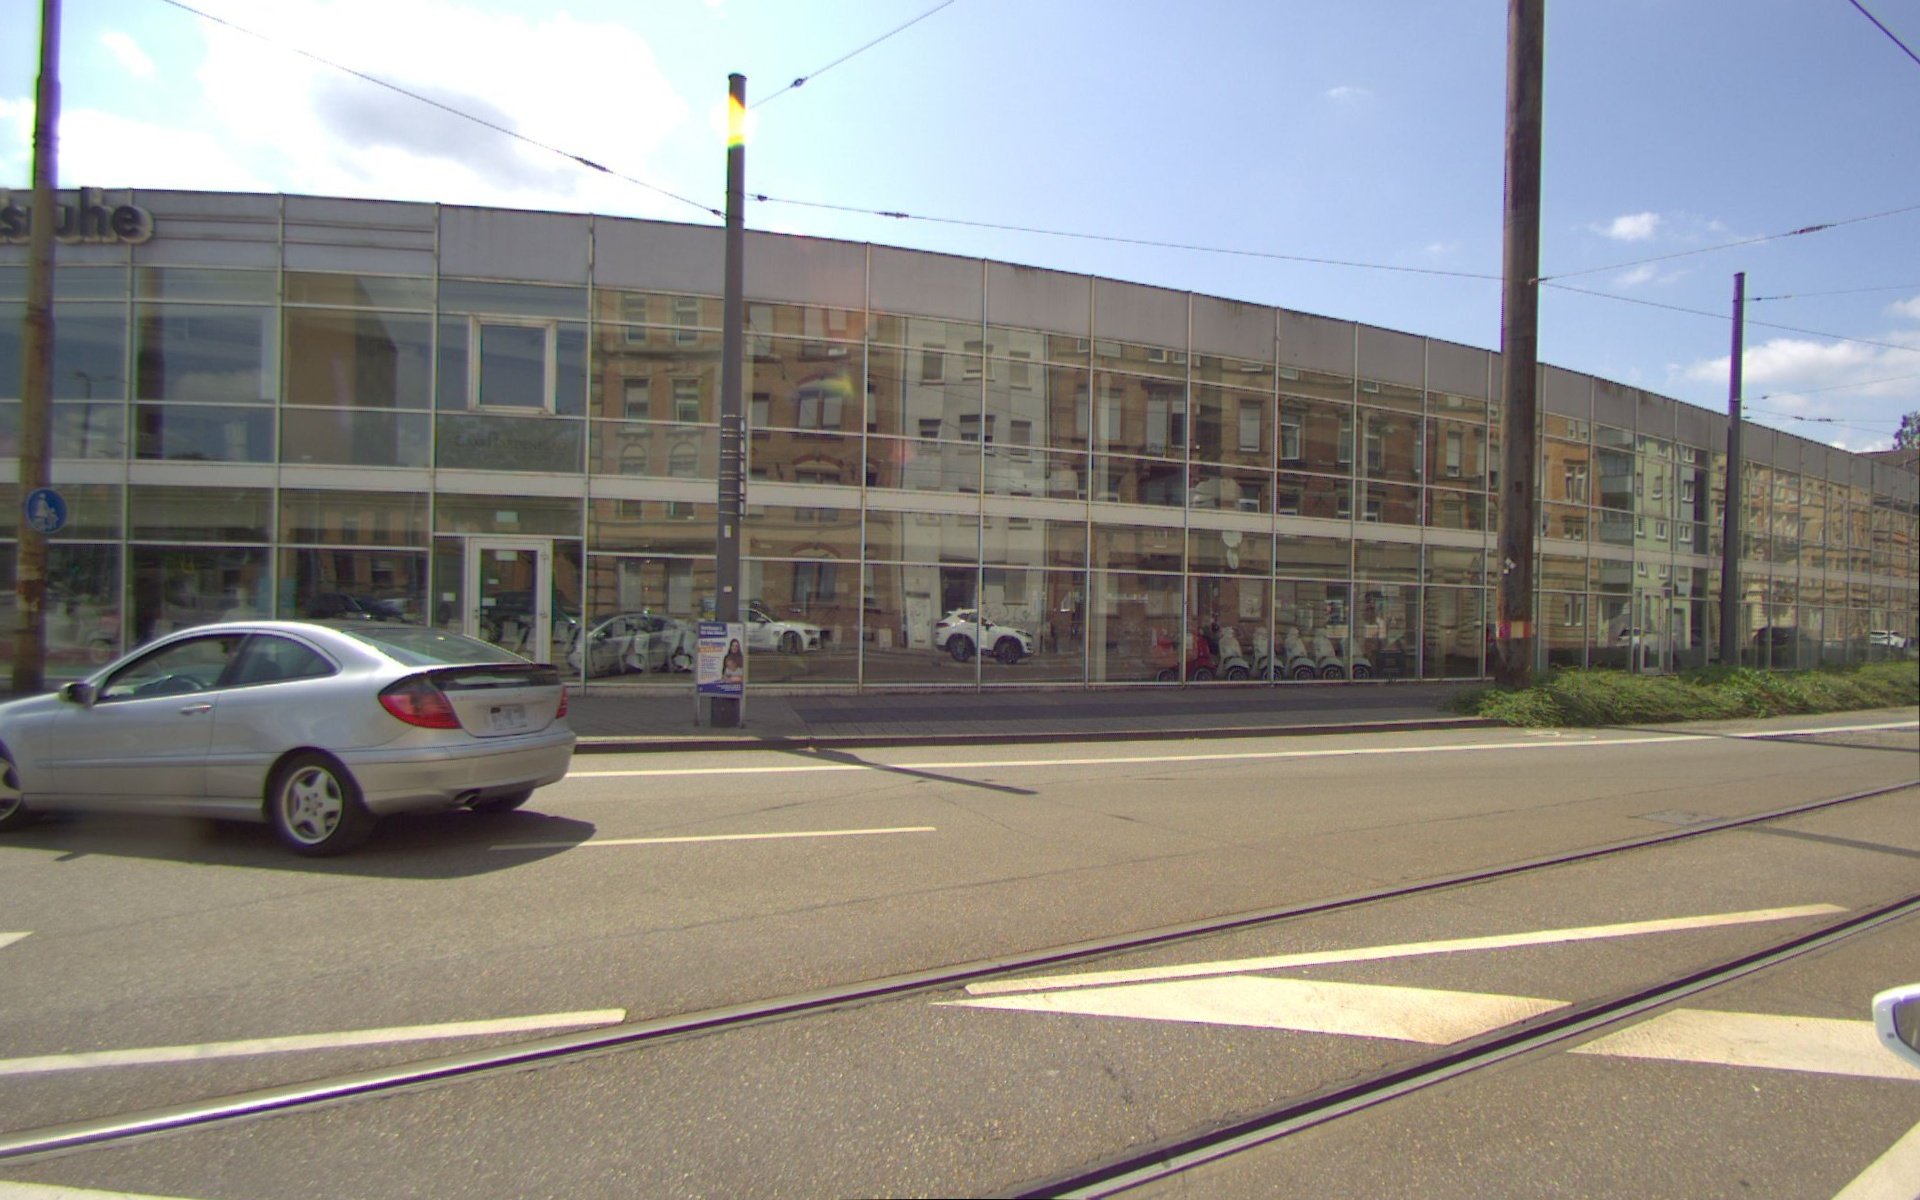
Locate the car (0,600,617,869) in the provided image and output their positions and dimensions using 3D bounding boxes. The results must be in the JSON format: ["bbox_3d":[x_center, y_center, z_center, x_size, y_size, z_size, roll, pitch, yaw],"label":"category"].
[{"bbox_3d":[-4.727,0.756,6.937,4.103,1.439,1.821,1,-1,14],"label":"car"}]
